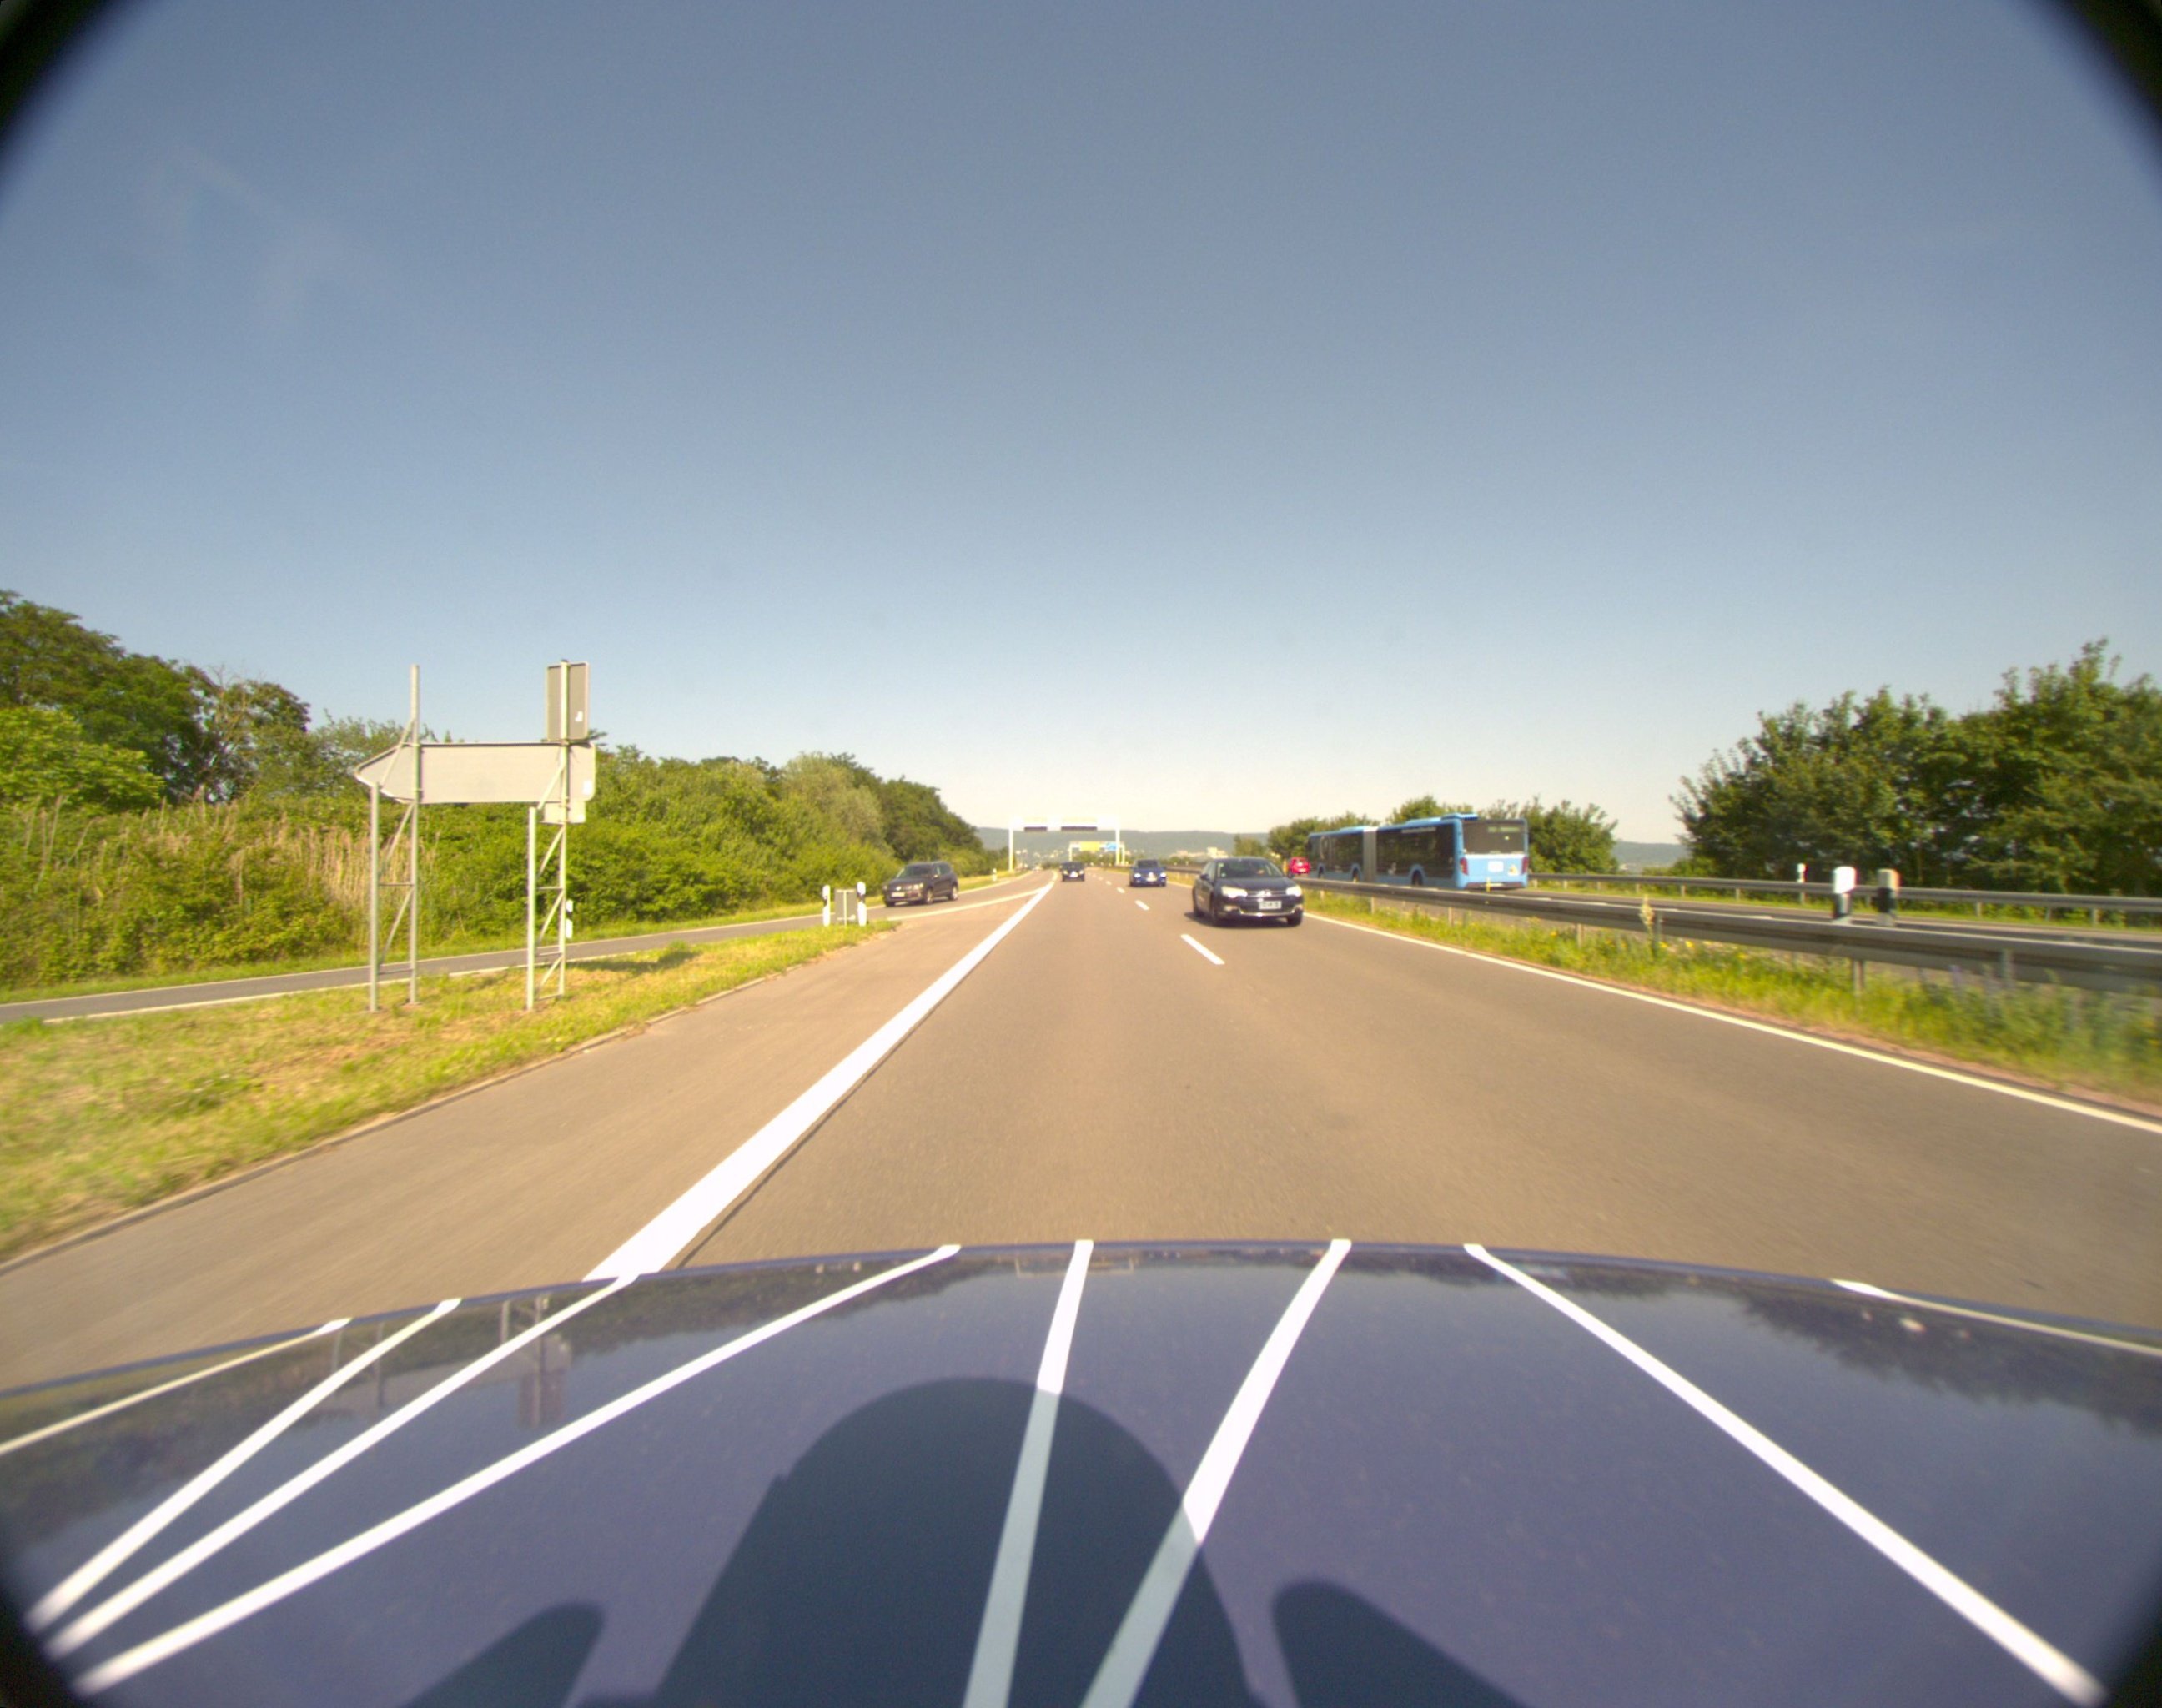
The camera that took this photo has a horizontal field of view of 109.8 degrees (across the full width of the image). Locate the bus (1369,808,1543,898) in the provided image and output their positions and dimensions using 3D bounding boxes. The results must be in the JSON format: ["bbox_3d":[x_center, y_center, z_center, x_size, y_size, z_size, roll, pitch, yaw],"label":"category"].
[{"bbox_3d":[14.568,-0.009,30.506,2.732,3.092,8.392,-1,0,-1],"label":"bus"}]

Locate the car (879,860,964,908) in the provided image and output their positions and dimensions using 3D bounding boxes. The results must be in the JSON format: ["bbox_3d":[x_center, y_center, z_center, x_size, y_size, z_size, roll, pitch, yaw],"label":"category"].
[{"bbox_3d":[-6.309,1.155,30.525,1.788,1.637,4.151,-3,0,10],"label":"car"}]

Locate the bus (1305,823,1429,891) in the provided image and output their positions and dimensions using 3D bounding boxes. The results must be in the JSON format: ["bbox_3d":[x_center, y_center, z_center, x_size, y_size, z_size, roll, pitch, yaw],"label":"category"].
[{"bbox_3d":[14.531,0.150,39.632,2.732,3.092,9.835,-1,0,0],"label":"bus"}]

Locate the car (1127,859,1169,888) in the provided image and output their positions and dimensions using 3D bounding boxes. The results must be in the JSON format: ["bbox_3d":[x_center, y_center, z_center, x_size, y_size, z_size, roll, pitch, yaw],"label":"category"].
[{"bbox_3d":[3.461,0.975,39.966,1.652,1.403,3.774,-2,0,-3],"label":"car"}]

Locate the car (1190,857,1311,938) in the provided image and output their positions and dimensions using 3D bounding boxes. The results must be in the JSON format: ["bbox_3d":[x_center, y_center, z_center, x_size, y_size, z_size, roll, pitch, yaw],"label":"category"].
[{"bbox_3d":[3.617,0.861,17.003,1.788,1.524,4.375,-1,0,1],"label":"car"}]

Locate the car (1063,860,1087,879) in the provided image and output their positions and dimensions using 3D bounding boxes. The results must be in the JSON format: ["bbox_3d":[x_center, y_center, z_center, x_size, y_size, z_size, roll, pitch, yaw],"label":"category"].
[{"bbox_3d":[-0.424,1.078,54.508,1.601,1.241,4.000,-2,-1,0],"label":"car"}]

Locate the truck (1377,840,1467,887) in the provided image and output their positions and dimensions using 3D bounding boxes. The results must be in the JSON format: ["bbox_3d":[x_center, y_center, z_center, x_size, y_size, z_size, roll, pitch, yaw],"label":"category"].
[{"bbox_3d":[19.347,0.485,43.561,2.132,2.439,6.617,1,0,0],"label":"truck"}]

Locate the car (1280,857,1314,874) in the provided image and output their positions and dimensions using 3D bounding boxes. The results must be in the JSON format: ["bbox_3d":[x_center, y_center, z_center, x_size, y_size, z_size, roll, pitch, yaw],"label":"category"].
[{"bbox_3d":[18.605,0.963,65.573,1.789,1.437,4.000,0,0,-1],"label":"car"}]
